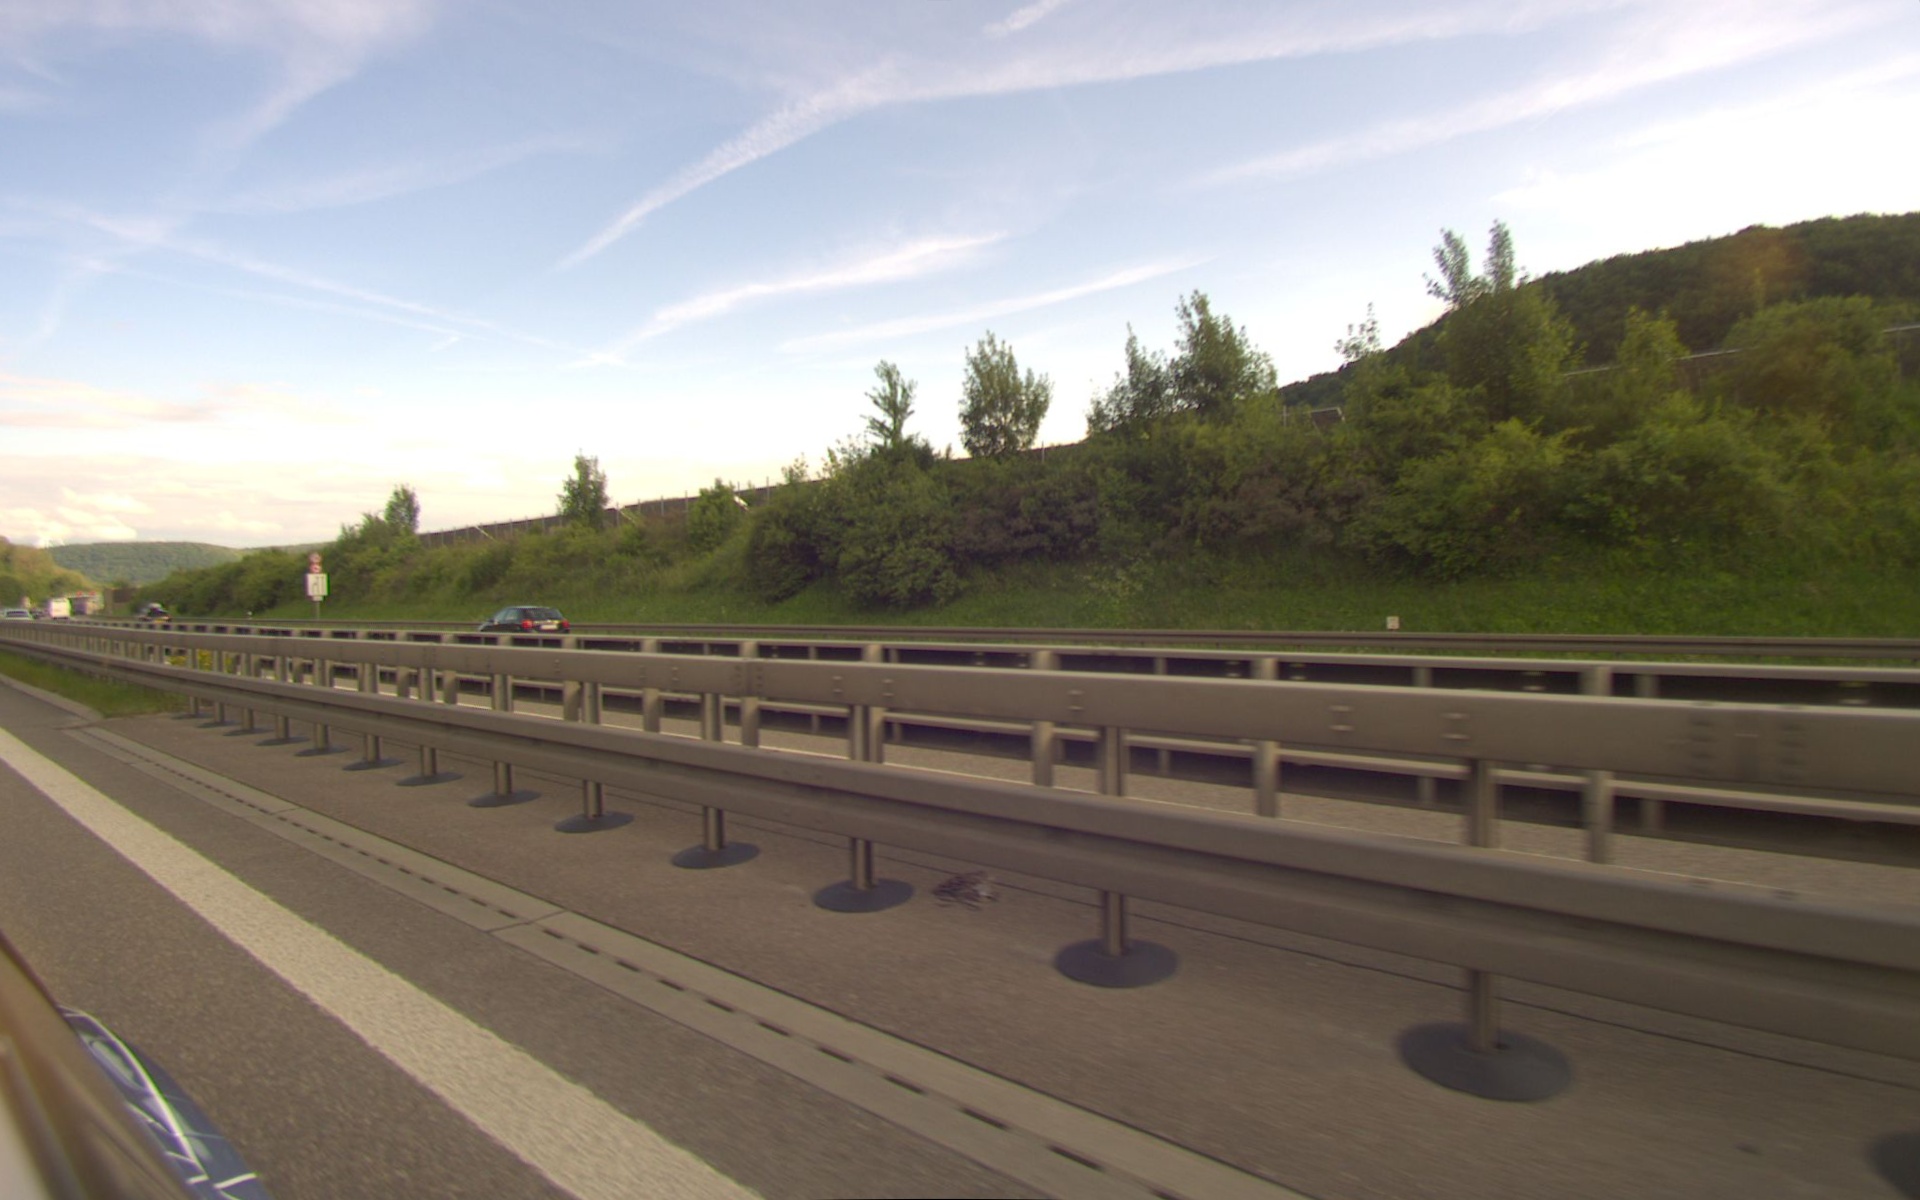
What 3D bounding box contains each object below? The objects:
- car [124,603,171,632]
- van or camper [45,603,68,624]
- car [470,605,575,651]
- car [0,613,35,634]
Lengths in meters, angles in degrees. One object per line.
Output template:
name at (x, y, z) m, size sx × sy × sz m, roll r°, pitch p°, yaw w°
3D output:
car at (-61.622, 1.317, 76.725) m, size 5.018 × 2.055 × 1.942 m, roll -1°, pitch 0°, yaw 42°
van or camper at (-153.743, 2.326, 172.213) m, size 7.981 × 3.578 × 2.454 m, roll -1°, pitch -1°, yaw 45°
car at (-14.752, 0.922, 34.047) m, size 3.997 × 1.426 × 1.689 m, roll -1°, pitch 0°, yaw 41°
car at (-74.599, 1.830, 79.948) m, size 5.018 × 1.603 × 1.813 m, roll -1°, pitch 0°, yaw 42°
